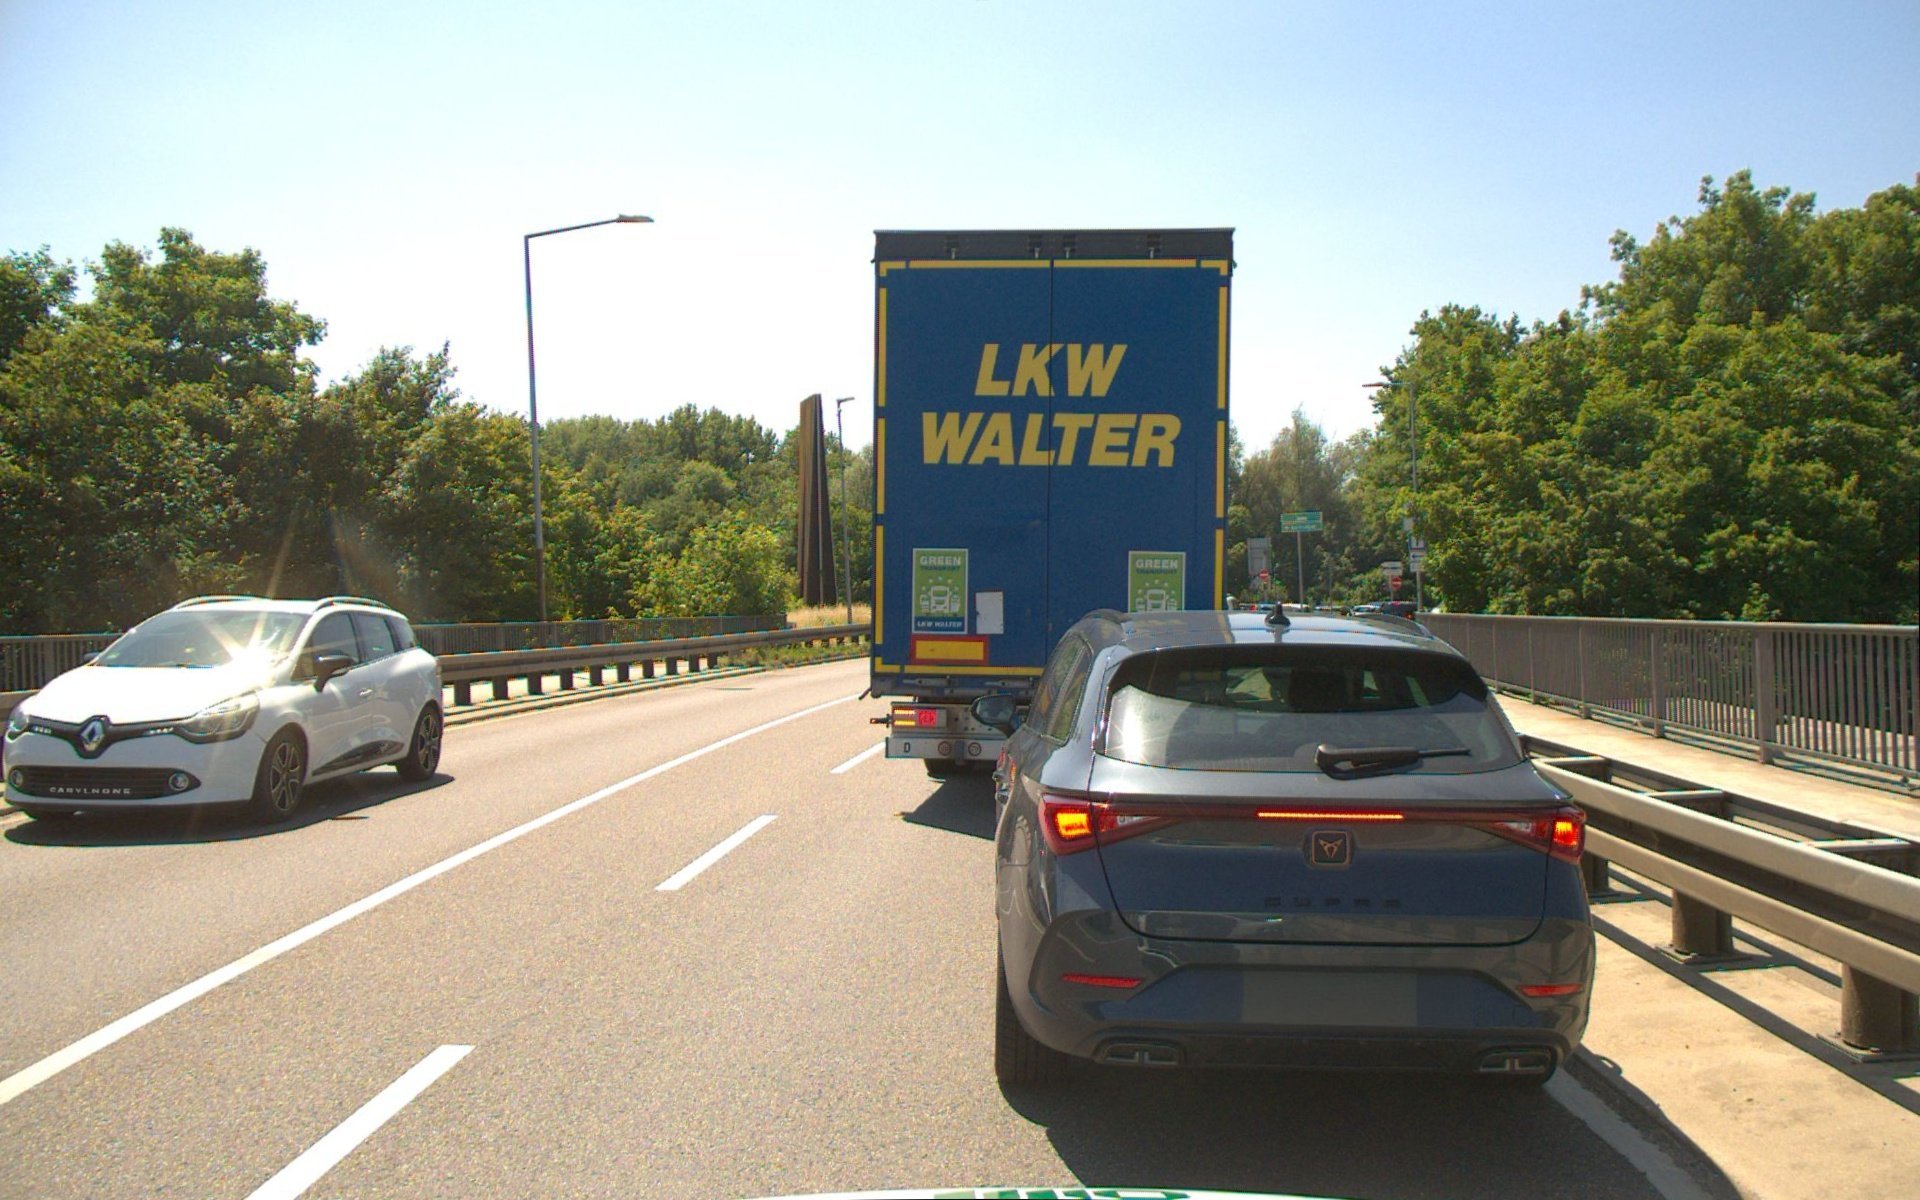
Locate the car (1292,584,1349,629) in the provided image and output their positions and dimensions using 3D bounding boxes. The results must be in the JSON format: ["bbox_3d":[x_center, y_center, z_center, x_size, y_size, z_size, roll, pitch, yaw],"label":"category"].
[{"bbox_3d":[14.923,0.293,68.372,1.651,1.791,3.999,0,-1,22],"label":"car"}]

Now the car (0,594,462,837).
[{"bbox_3d":[-5.091,0.701,12.066,1.566,1.474,4.057,0,0,2],"label":"car"}]

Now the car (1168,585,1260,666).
[{"bbox_3d":[6.359,0.580,41.078,1.684,1.876,4.002,0,1,17],"label":"car"}]

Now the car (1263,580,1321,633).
[{"bbox_3d":[12.417,0.221,61.682,1.685,1.876,4.002,0,0,18],"label":"car"}]

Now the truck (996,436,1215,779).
[{"bbox_3d":[2.303,0.072,25.076,2.843,4.496,6.560,0,0,7],"label":"truck"}]

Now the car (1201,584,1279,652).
[{"bbox_3d":[8.063,0.480,47.422,1.684,1.834,4.002,0,0,17],"label":"car"}]

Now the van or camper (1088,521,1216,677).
[{"bbox_3d":[4.024,-0.040,33.669,2.108,2.865,6.393,0,0,11],"label":"van or camper"}]

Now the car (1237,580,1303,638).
[{"bbox_3d":[10.408,0.264,55.392,1.685,1.876,4.002,0,0,18],"label":"car"}]

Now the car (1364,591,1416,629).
[{"bbox_3d":[20.994,0.481,80.671,1.653,1.791,3.995,0,-1,28],"label":"car"}]

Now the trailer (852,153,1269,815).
[{"bbox_3d":[1.408,-0.826,17.586,2.843,4.496,12.442,0,0,7],"label":"trailer"}]

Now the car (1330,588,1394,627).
[{"bbox_3d":[18.176,0.352,74.671,1.954,1.603,3.996,2,-1,26],"label":"car"}]

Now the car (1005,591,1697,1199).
[{"bbox_3d":[0.985,0.719,5.933,1.642,1.481,3.959,0,0,1],"label":"car"}]
